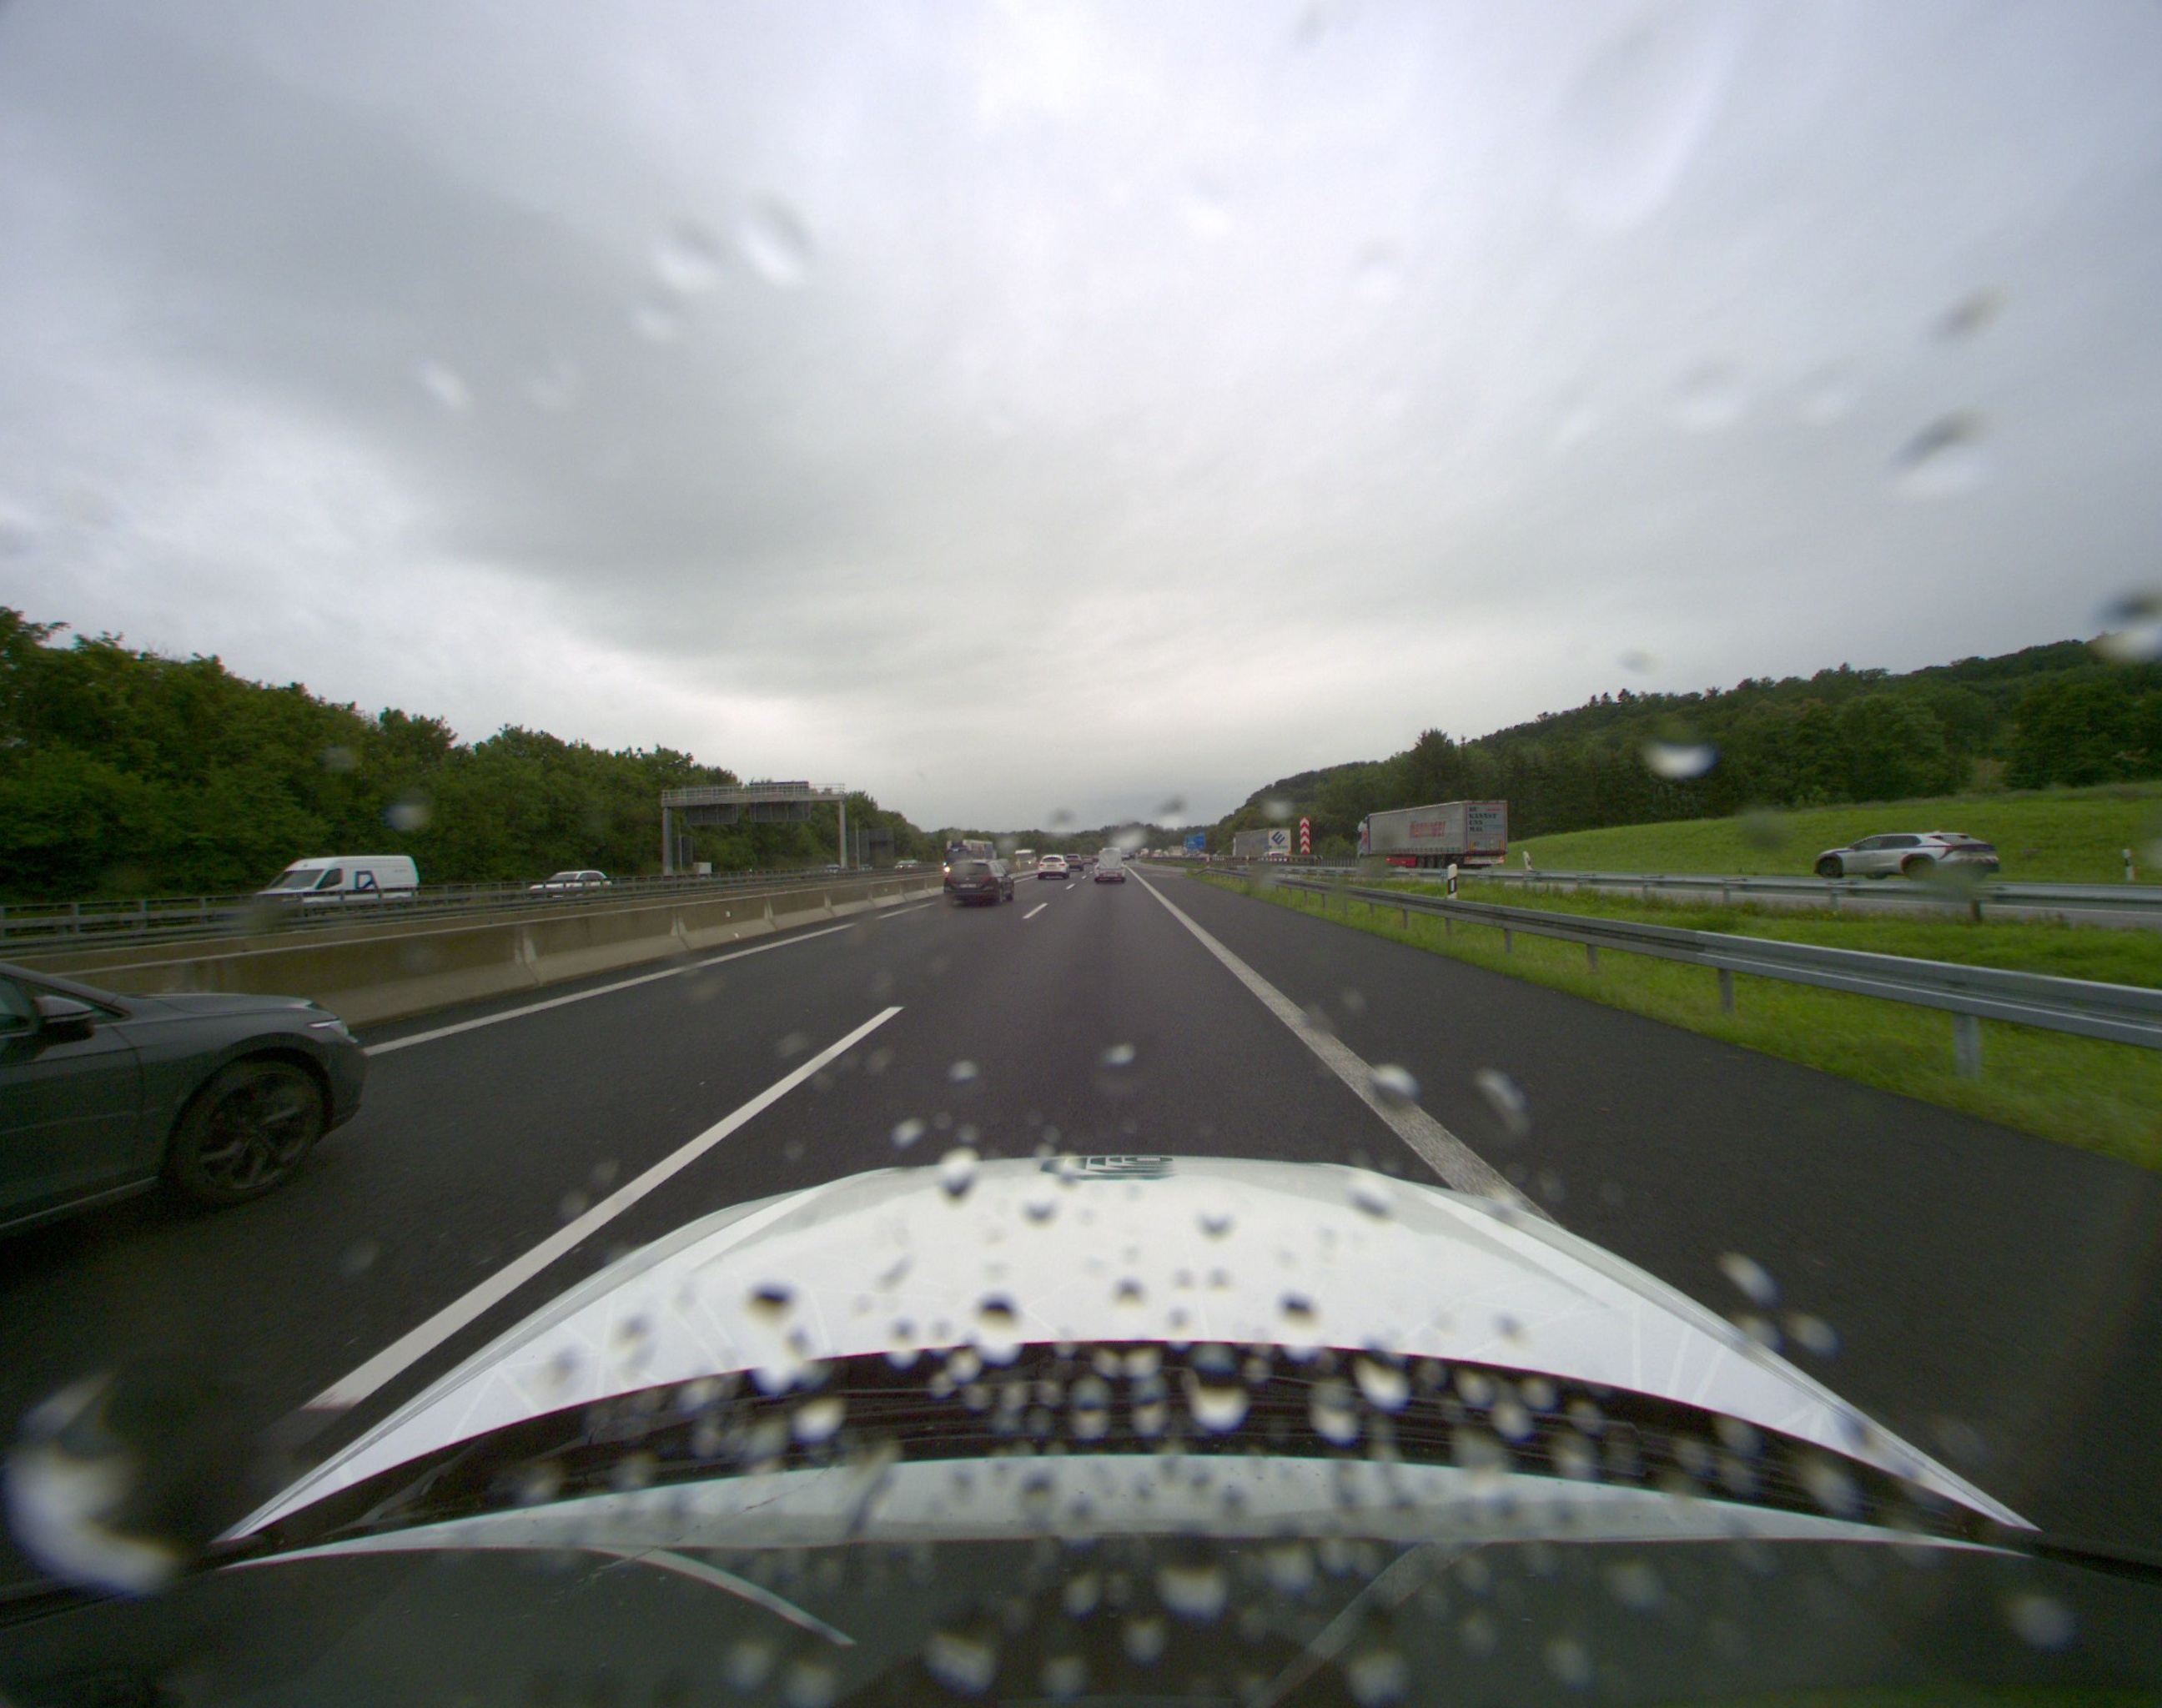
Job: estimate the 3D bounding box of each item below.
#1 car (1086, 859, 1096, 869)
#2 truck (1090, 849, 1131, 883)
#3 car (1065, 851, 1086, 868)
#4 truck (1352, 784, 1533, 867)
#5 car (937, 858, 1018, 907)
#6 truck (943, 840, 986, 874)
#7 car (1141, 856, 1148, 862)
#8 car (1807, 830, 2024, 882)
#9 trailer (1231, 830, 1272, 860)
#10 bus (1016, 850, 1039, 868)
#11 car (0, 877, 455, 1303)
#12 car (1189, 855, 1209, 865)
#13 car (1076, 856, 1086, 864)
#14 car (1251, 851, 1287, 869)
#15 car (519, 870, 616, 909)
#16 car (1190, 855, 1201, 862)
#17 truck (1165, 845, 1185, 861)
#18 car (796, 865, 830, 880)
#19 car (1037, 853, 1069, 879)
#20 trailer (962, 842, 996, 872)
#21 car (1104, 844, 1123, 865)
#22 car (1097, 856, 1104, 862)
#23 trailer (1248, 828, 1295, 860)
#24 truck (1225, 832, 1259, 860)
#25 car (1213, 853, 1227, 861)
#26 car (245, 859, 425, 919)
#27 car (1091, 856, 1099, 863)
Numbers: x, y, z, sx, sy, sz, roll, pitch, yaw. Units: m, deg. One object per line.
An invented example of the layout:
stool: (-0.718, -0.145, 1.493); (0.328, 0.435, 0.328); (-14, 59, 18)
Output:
car: (1.758, 1.763, 143.533); (1.731, 1.794, 4.002); (-1, 0, 2)
truck: (1.715, 0.685, 47.472); (2.233, 1.839, 6.587); (0, 0, 2)
car: (-0.565, 0.535, 83.609); (1.968, 1.703, 4.804); (0, 0, 2)
truck: (22.935, -1.522, 53.723); (3.811, 4.540, 16.869); (-1, 0, -2)
car: (-3.318, 0.867, 26.996); (1.780, 1.459, 4.806); (-1, 0, 3)
truck: (-12.985, 0.339, 91.948); (2.797, 3.525, 10.648); (0, 0, 3)
car: (16.619, 1.252, 213.468); (1.638, 1.574, 4.003); (0, 0, 3)
car: (27.035, 0.056, 26.699); (1.815, 1.504, 5.026); (-1, 0, -3)
trailer: (21.001, -1.010, 100.818); (2.932, 3.527, 8.408); (0, 0, -4)
bus: (-7.896, 0.790, 120.215); (2.531, 2.586, 8.274); (0, 0, 2)
car: (-4.668, 0.850, 2.588); (1.823, 1.425, 4.371); (-1, 0, 3)
car: (16.963, 0.907, 117.252); (1.981, 1.377, 5.315); (-1, 0, -2)
car: (0.048, 1.337, 172.604); (1.812, 1.662, 4.020); (-1, 0, 3)
car: (17.897, 0.559, 77.712); (1.990, 1.616, 5.072); (-1, 0, -4)
car: (-26.425, 1.785, 42.120); (1.986, 1.737, 4.584); (-2, 0, 1)
car: (21.947, 0.881, 156.096); (1.691, 1.288, 3.535); (0, -1, 1)
truck: (22.329, -0.164, 193.714); (3.814, 3.659, 8.267); (0, 0, -1)
car: (-28.671, 1.959, 87.191); (1.984, 1.398, 4.005); (-2, 0, 5)
car: (-1.961, 0.801, 55.577); (2.044, 1.670, 4.535); (-1, 0, -3)
trailer: (-12.624, 0.369, 101.317); (2.931, 3.516, 8.056); (0, 0, 3)
car: (4.406, 0.062, 110.247); (2.323, 2.725, 6.541); (-1, 0, 1)
car: (5.207, 1.376, 216.986); (1.638, 1.574, 4.003); (0, 0, 3)
trailer: (21.543, -1.058, 92.575); (3.072, 3.527, 8.073); (0, 0, -4)
truck: (20.752, -1.030, 105.257); (2.931, 3.527, 5.921); (0, 0, -3)
car: (22.031, 0.536, 129.443); (1.691, 1.288, 3.536); (0, -1, 1)
car: (-30.473, 1.337, 33.621); (1.986, 2.213, 5.718); (-2, 0, 2)
car: (3.250, 1.290, 182.977); (1.638, 1.574, 4.003); (0, 0, 3)
